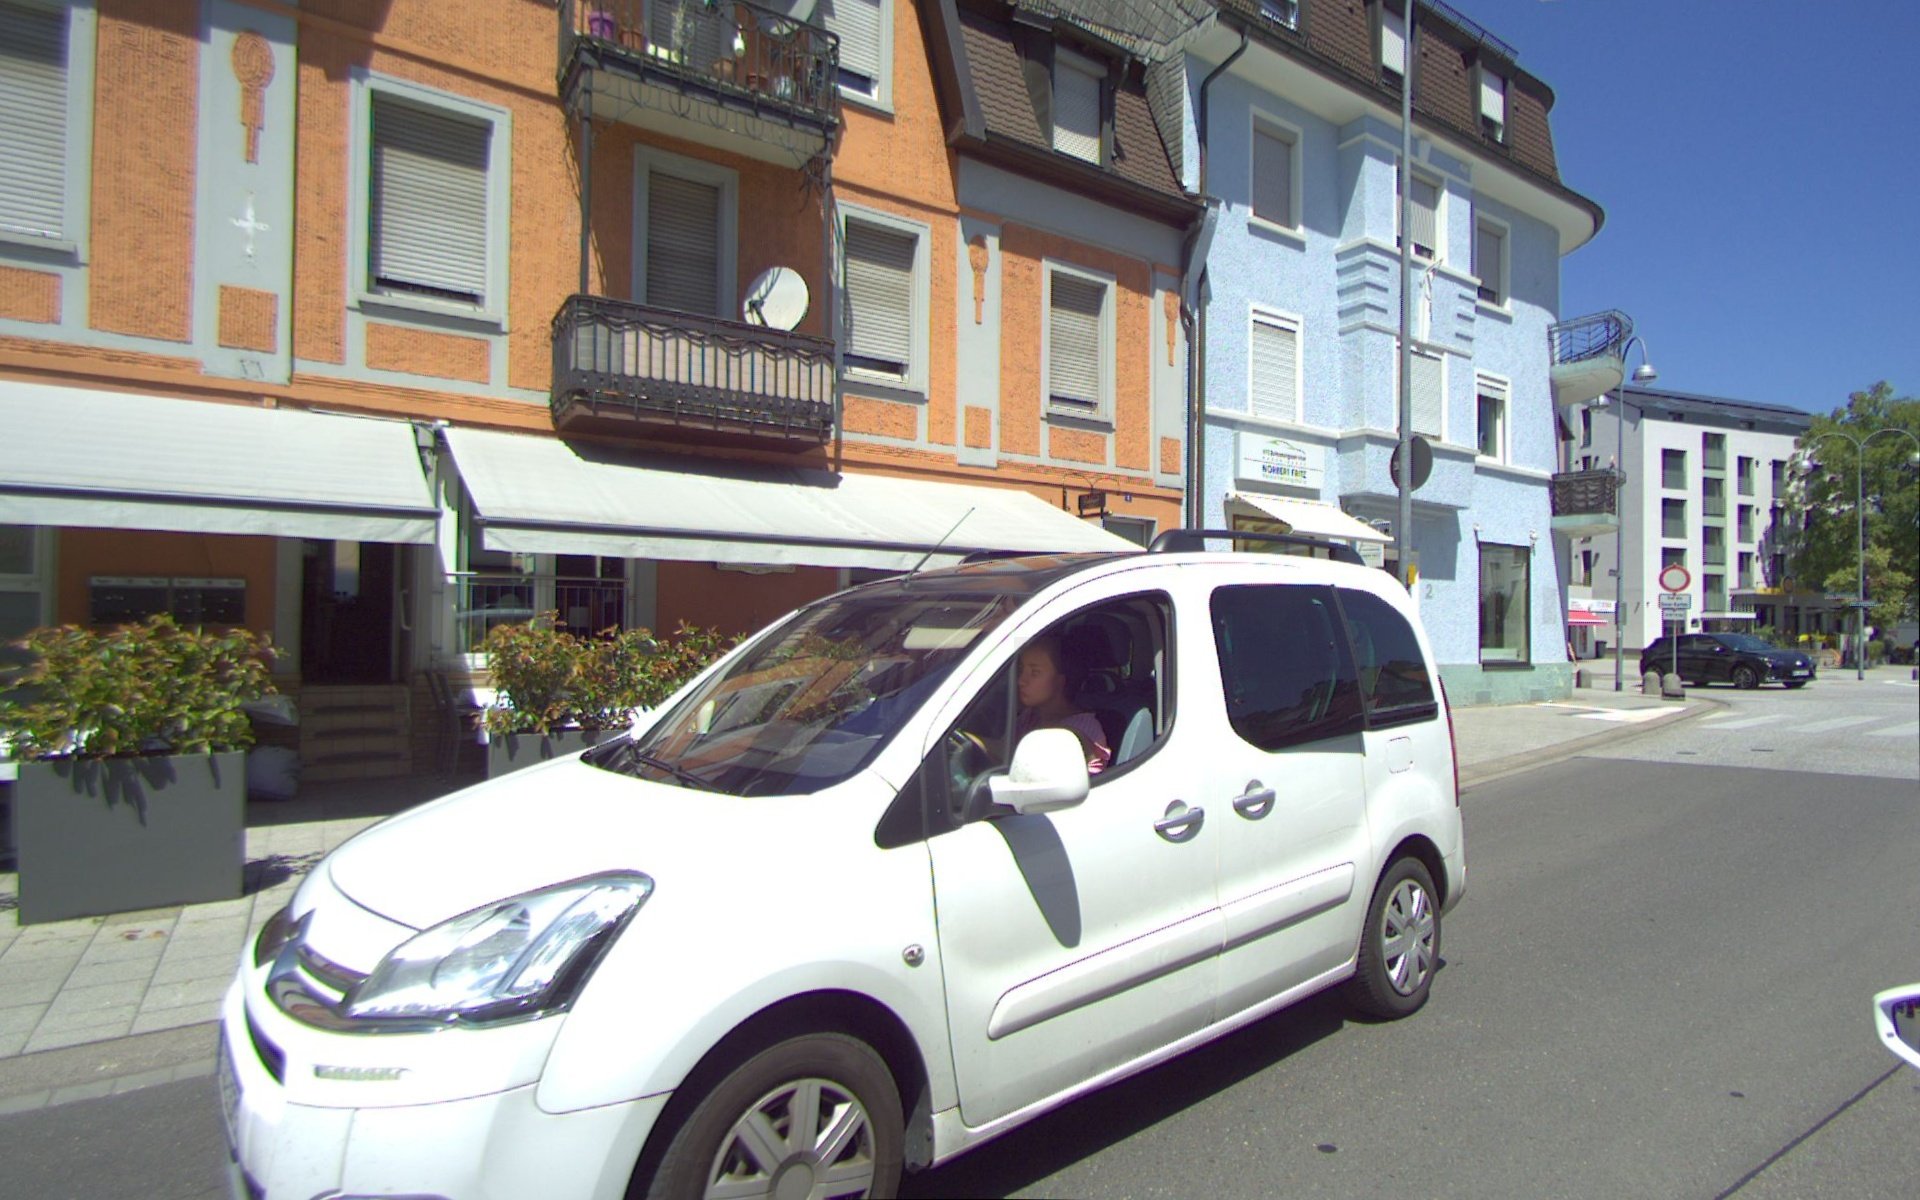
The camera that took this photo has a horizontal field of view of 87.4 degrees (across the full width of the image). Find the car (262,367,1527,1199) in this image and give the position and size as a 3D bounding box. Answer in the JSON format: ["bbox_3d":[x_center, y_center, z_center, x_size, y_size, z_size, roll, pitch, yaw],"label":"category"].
[{"bbox_3d":[0.174,0.653,3.739,4.380,1.846,1.977,2,-4,-41],"label":"car"}]

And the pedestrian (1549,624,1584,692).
[{"bbox_3d":[14.699,1.403,24.368,0.535,1.606,0.515,-1,-2,10],"label":"pedestrian"}]

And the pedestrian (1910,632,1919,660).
[{"bbox_3d":[55.537,2.653,58.161,0.554,1.596,0.534,1,-2,-20],"label":"pedestrian"}]

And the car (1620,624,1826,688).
[{"bbox_3d":[21.105,1.598,28.014,1.783,1.567,4.248,-1,-4,-18],"label":"car"}]
